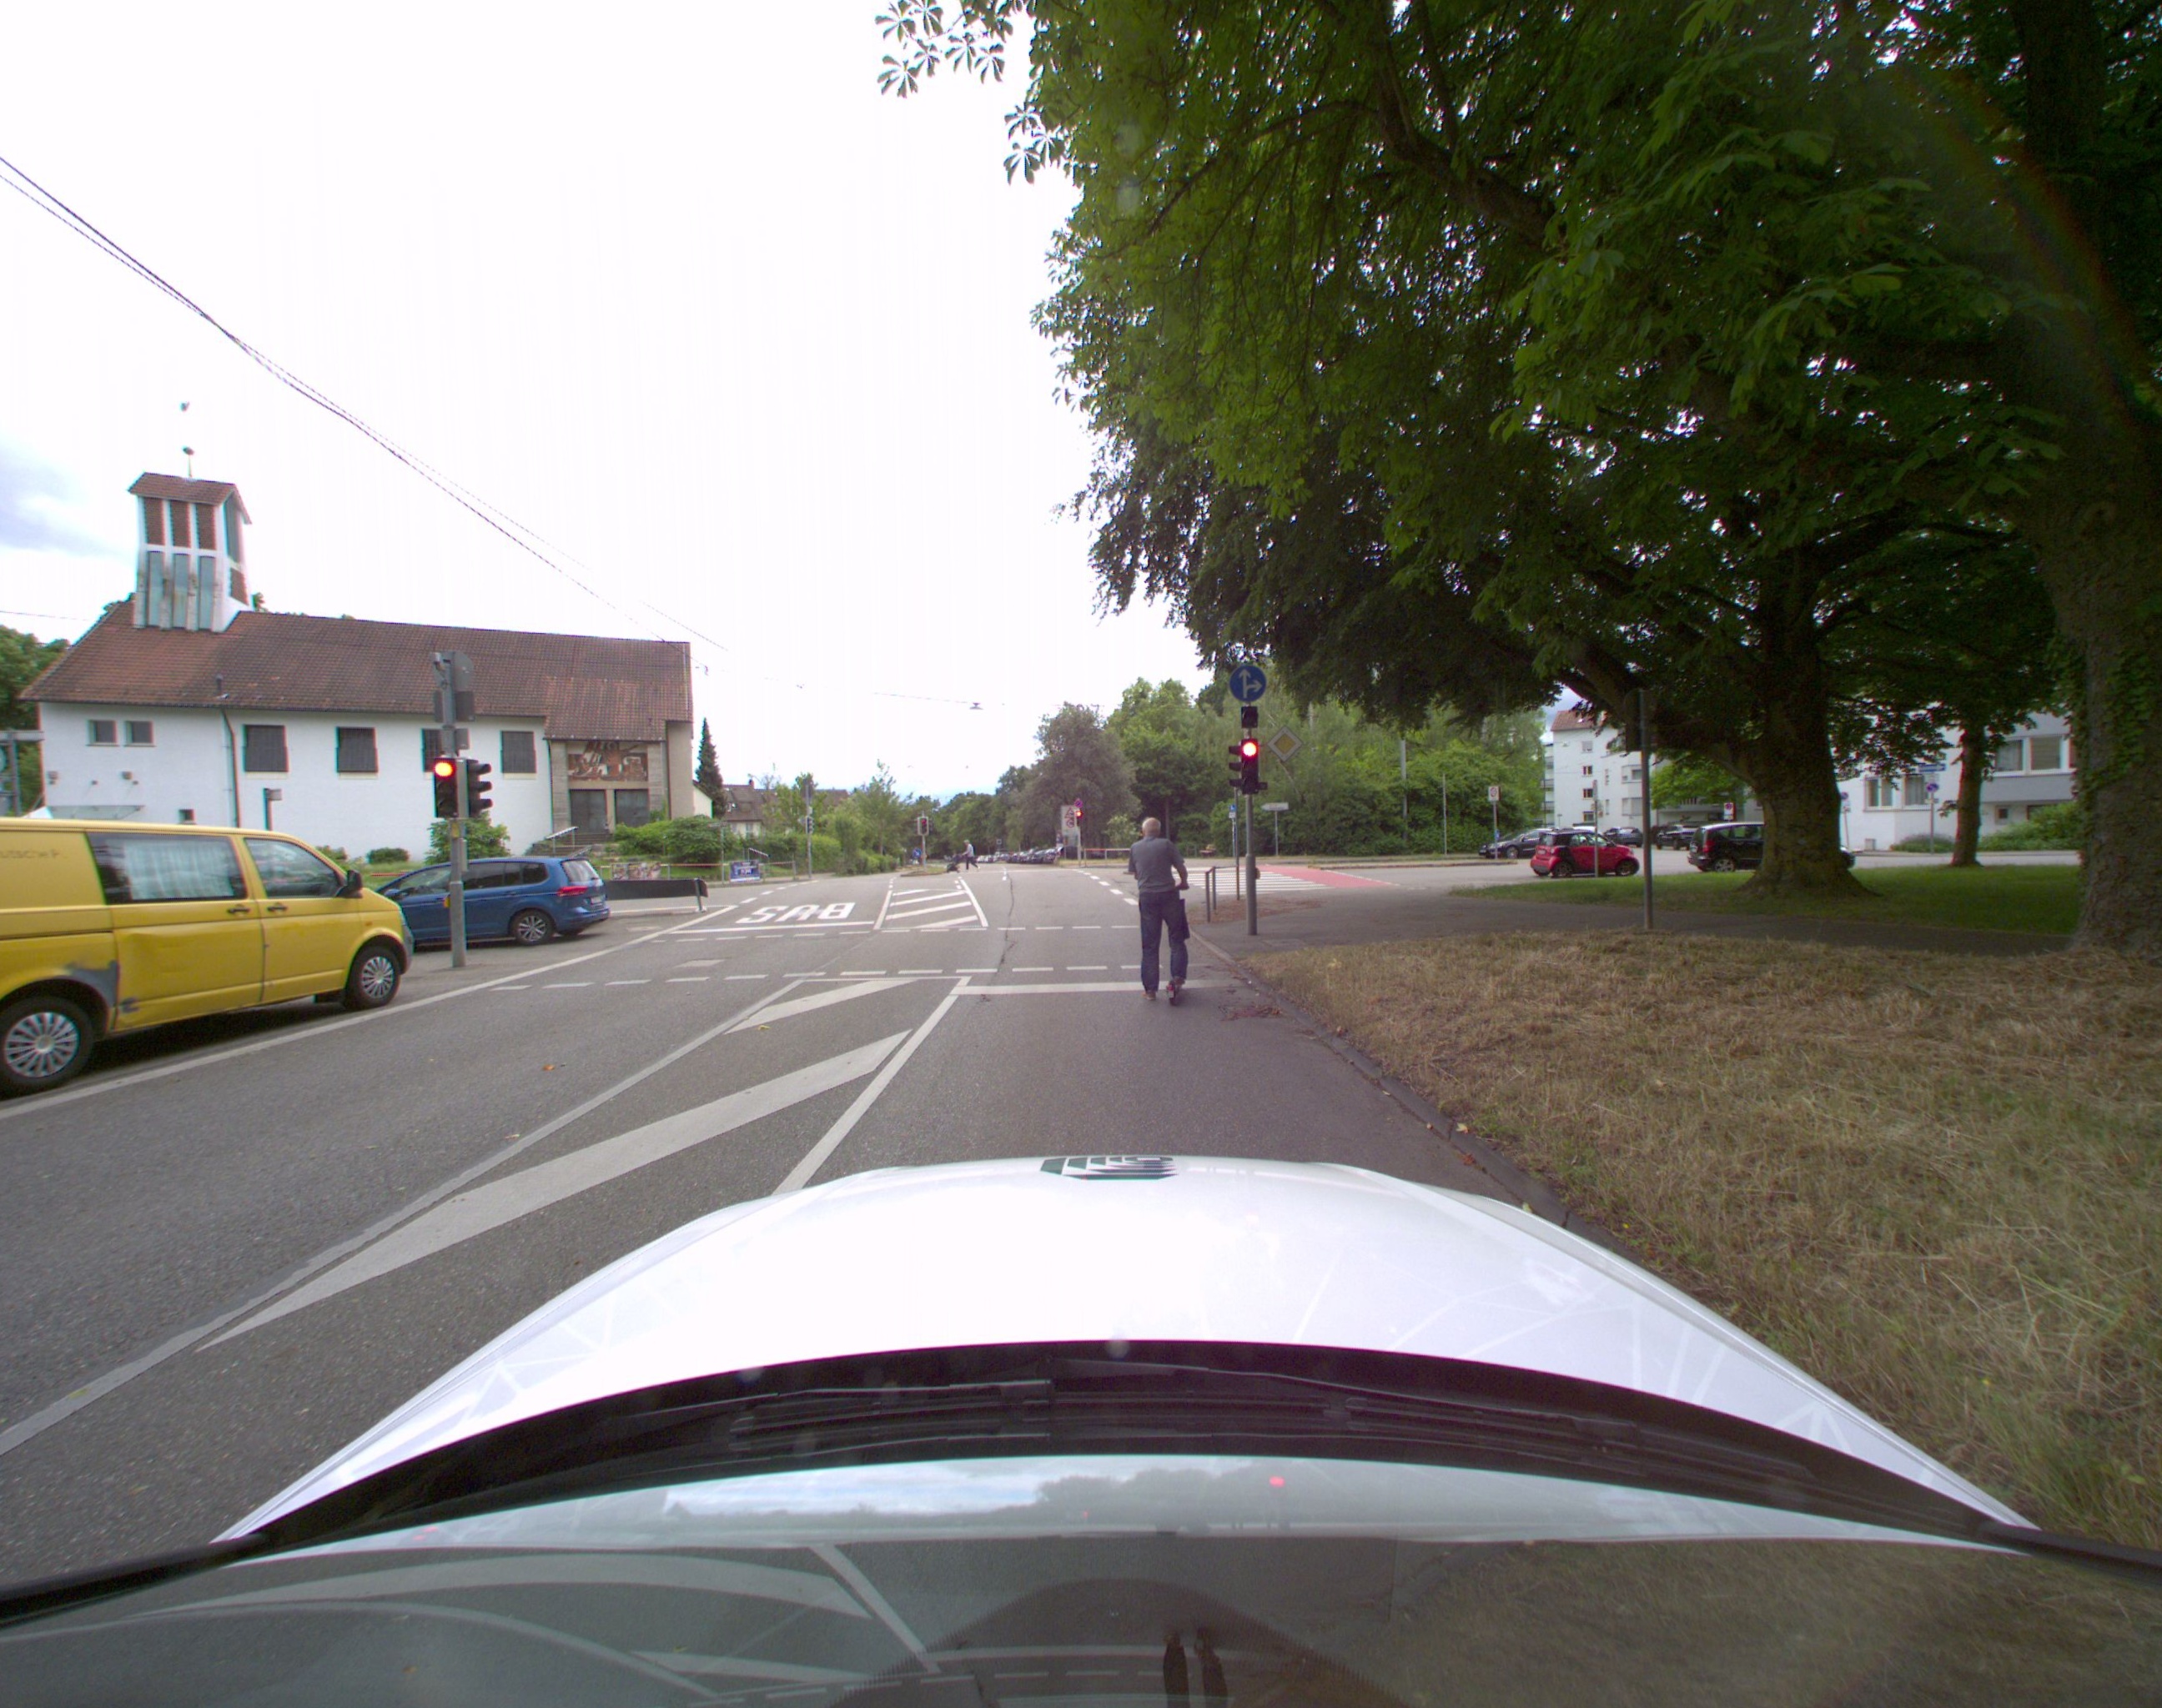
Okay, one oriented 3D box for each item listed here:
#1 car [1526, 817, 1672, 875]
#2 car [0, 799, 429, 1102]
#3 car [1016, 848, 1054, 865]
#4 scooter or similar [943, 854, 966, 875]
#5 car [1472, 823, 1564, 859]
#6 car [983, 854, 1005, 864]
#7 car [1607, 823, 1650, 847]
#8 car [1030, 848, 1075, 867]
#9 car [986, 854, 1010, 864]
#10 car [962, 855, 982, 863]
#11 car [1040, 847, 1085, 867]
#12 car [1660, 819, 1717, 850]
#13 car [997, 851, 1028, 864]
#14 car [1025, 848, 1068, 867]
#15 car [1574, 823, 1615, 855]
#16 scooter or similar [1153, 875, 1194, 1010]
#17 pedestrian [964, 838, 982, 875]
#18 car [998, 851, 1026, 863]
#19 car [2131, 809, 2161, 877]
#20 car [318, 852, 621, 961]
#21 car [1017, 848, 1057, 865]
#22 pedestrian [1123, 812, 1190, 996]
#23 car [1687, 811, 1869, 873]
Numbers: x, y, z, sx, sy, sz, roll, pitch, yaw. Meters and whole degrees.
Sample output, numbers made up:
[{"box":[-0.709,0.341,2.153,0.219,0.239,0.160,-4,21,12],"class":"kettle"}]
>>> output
[{"box":[16.494,-0.255,26.073,3.499,1.610,1.732,-3,1,6],"class":"car"},{"box":[-8.291,0.666,7.002,1.880,2.013,4.558,-2,1,-5],"class":"car"},{"box":[-5.104,0.276,90.041,3.856,1.610,1.716,-3,1,-21],"class":"car"},{"box":[-6.673,0.556,42.913,1.106,1.081,0.577,-2,0,-5],"class":"scooter or similar"},{"box":[21.051,-0.629,39.325,3.498,1.530,1.732,-3,1,8],"class":"car"},{"box":[-16.661,0.906,155.340,3.856,1.610,1.716,-3,1,-21],"class":"car"},{"box":[38.855,-1.374,57.899,1.707,1.610,3.875,-3,1,22],"class":"car"},{"box":[-2.735,0.328,77.678,3.857,1.610,1.715,-3,1,-22],"class":"car"},{"box":[-14.619,0.896,143.984,3.856,1.610,1.716,-3,1,-21],"class":"car"},{"box":[-23.680,1.144,177.070,3.856,1.610,1.716,-3,1,-21],"class":"car"},{"box":[-1.721,0.304,75.684,3.854,1.610,1.717,-3,1,-19],"class":"car"},{"box":[35.491,-1.150,47.681,1.707,1.610,3.875,-3,1,22],"class":"car"},{"box":[-9.267,0.492,110.007,3.856,1.610,1.716,-3,1,-21],"class":"car"},{"box":[-3.428,0.334,80.236,3.856,1.610,1.716,-3,1,-21],"class":"car"},{"box":[28.712,-0.866,45.633,1.706,1.610,3.878,-3,1,30],"class":"car"},{"box":[0.926,0.824,8.014,0.280,1.178,1.180,-2,0,10],"class":"scooter or similar"},{"box":[-5.709,0.132,43.020,0.883,1.862,0.573,-2,0,-7],"class":"pedestrian"},{"box":[-10.368,0.423,123.008,3.856,1.610,1.716,-3,1,-21],"class":"car"},{"box":[27.846,-0.339,19.012,3.805,1.610,1.739,-3,1,43],"class":"car"},{"box":[-11.073,0.885,15.081,3.992,1.610,1.810,-3,1,-14],"class":"car"},{"box":[-4.766,0.274,87.619,3.856,1.610,1.716,-3,1,-21],"class":"car"},{"box":[0.780,0.502,8.321,0.569,1.813,0.421,-2,0,10],"class":"pedestrian"},{"box":[20.804,-0.340,24.525,3.805,1.610,1.739,-3,1,27],"class":"car"}]
